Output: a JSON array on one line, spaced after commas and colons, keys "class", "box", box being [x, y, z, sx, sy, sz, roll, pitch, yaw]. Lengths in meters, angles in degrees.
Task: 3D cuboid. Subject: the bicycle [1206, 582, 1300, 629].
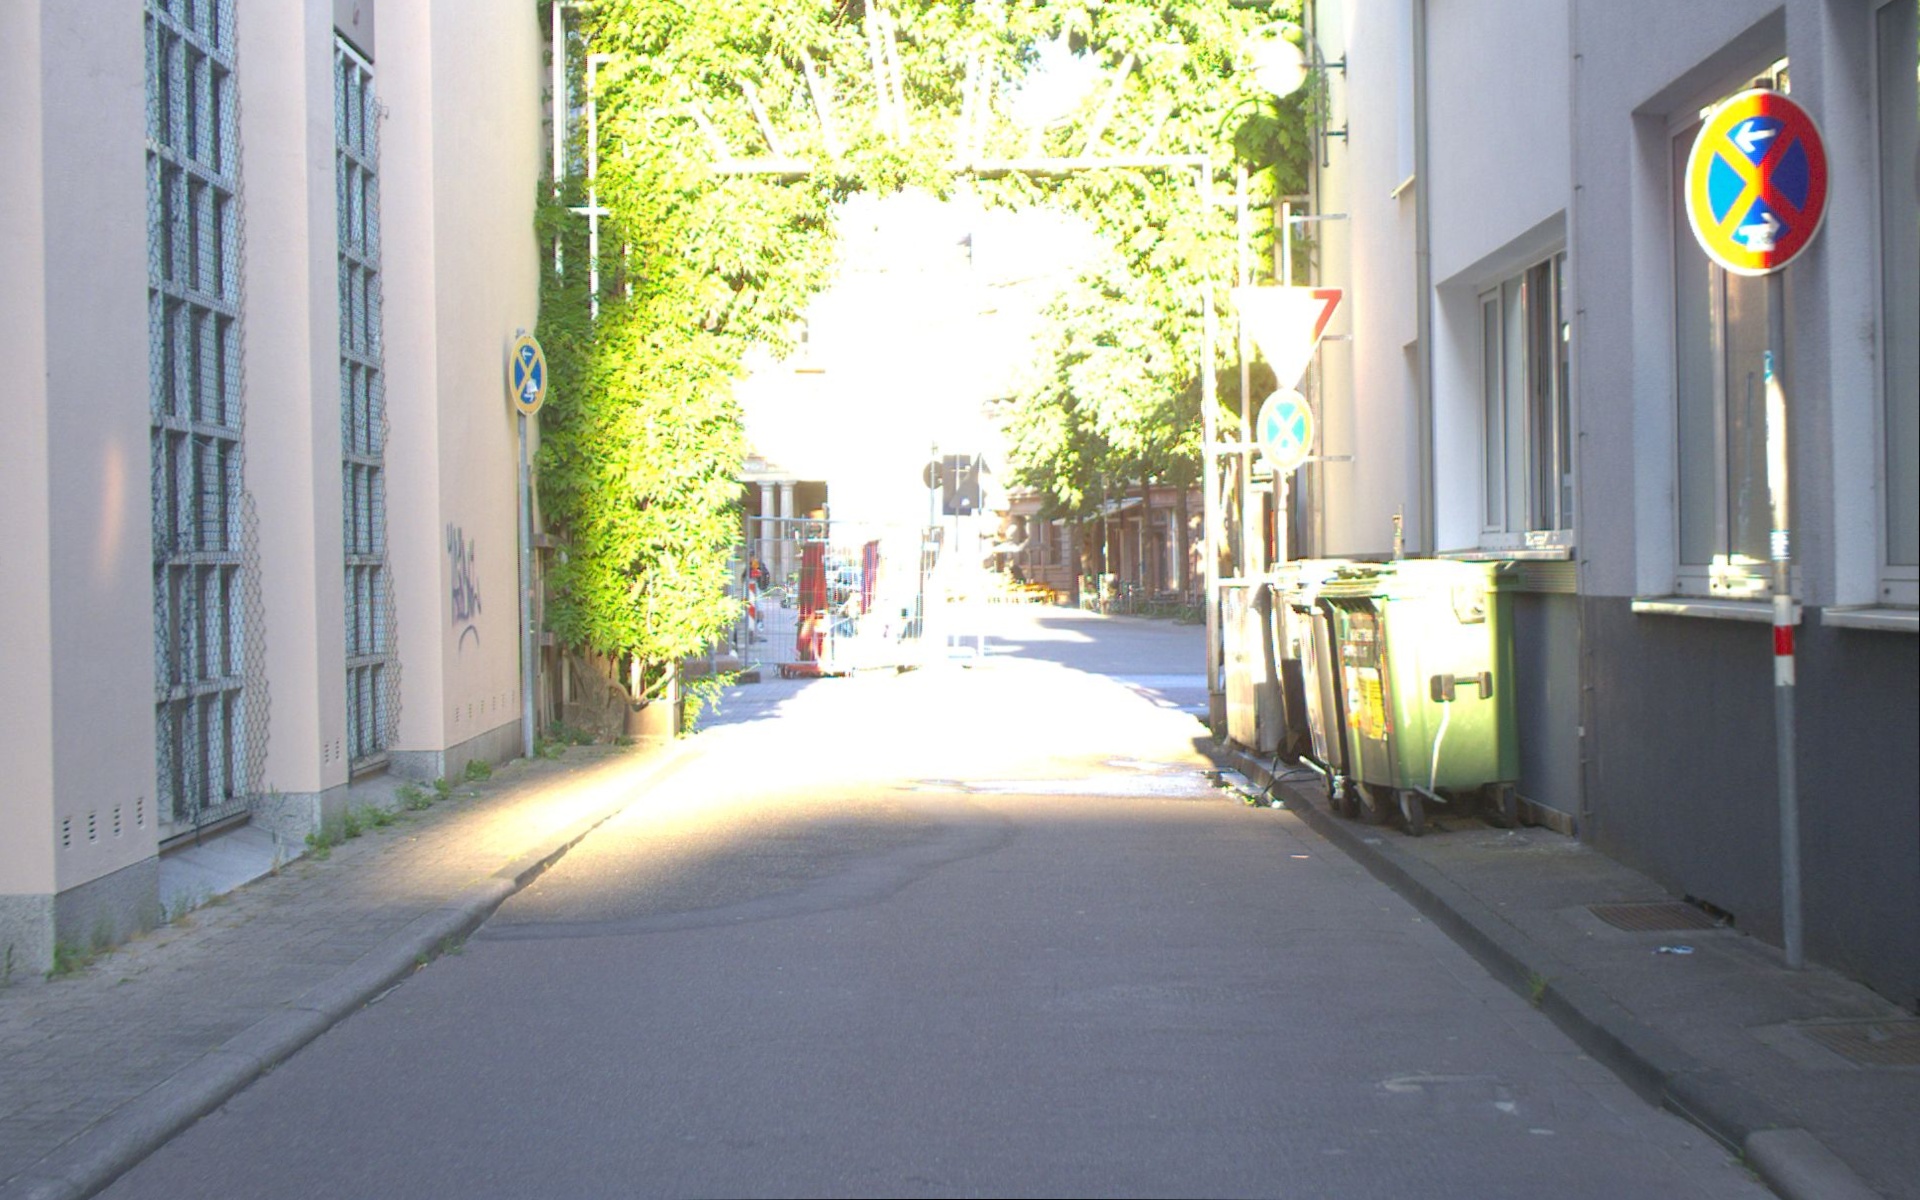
[{"class": "bicycle", "box": [7.101, 0.131, 83.314, 2.154, 1.057, 0.590, -2, -1, 13]}]

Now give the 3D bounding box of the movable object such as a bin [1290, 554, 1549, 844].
[{"class": "movable object such as a bin", "box": [2.305, 0.476, 17.426, 0.937, 1.362, 1.342, -3, 1, -6]}]

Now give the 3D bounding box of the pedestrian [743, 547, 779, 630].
[{"class": "pedestrian", "box": [-4.276, -0.242, 73.926, 0.654, 1.758, 0.634, -2, 0, 4]}]

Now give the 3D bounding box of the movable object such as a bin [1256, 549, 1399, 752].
[{"class": "movable object such as a bin", "box": [2.494, 0.326, 23.480, 0.836, 1.300, 1.290, -3, 1, 3]}]

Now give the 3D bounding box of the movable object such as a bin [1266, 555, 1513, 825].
[{"class": "movable object such as a bin", "box": [2.331, 0.467, 18.831, 1.064, 1.362, 1.342, -3, 1, -2]}]
